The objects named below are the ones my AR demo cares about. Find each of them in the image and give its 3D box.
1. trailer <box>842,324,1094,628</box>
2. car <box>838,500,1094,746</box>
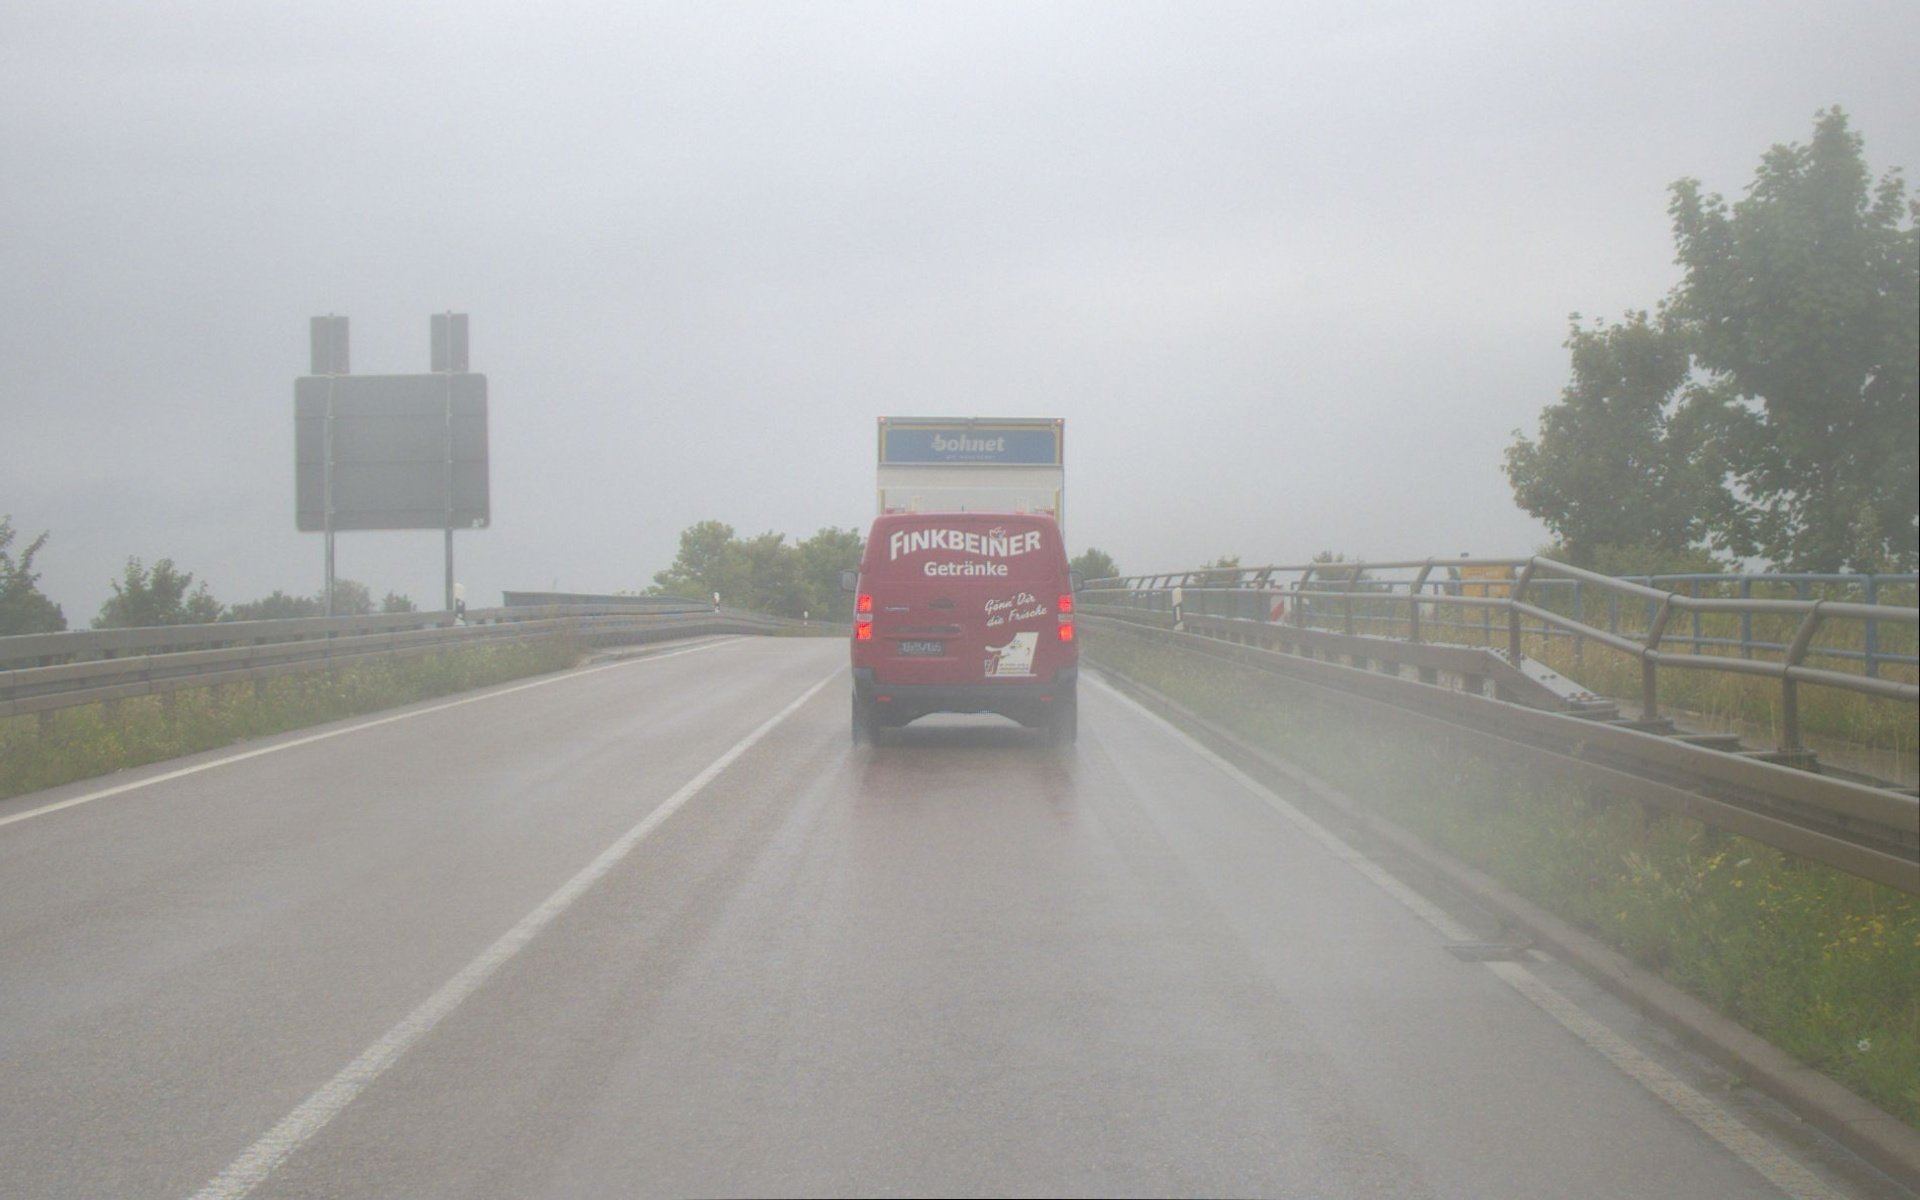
[{"bbox_3d":[0.223,-1.628,50.401,3.201,3.909,8.739,3,0,2],"label":"trailer"},{"bbox_3d":[0.021,0.155,29.249,1.993,1.919,4.143,1,1,-1],"label":"car"}]
